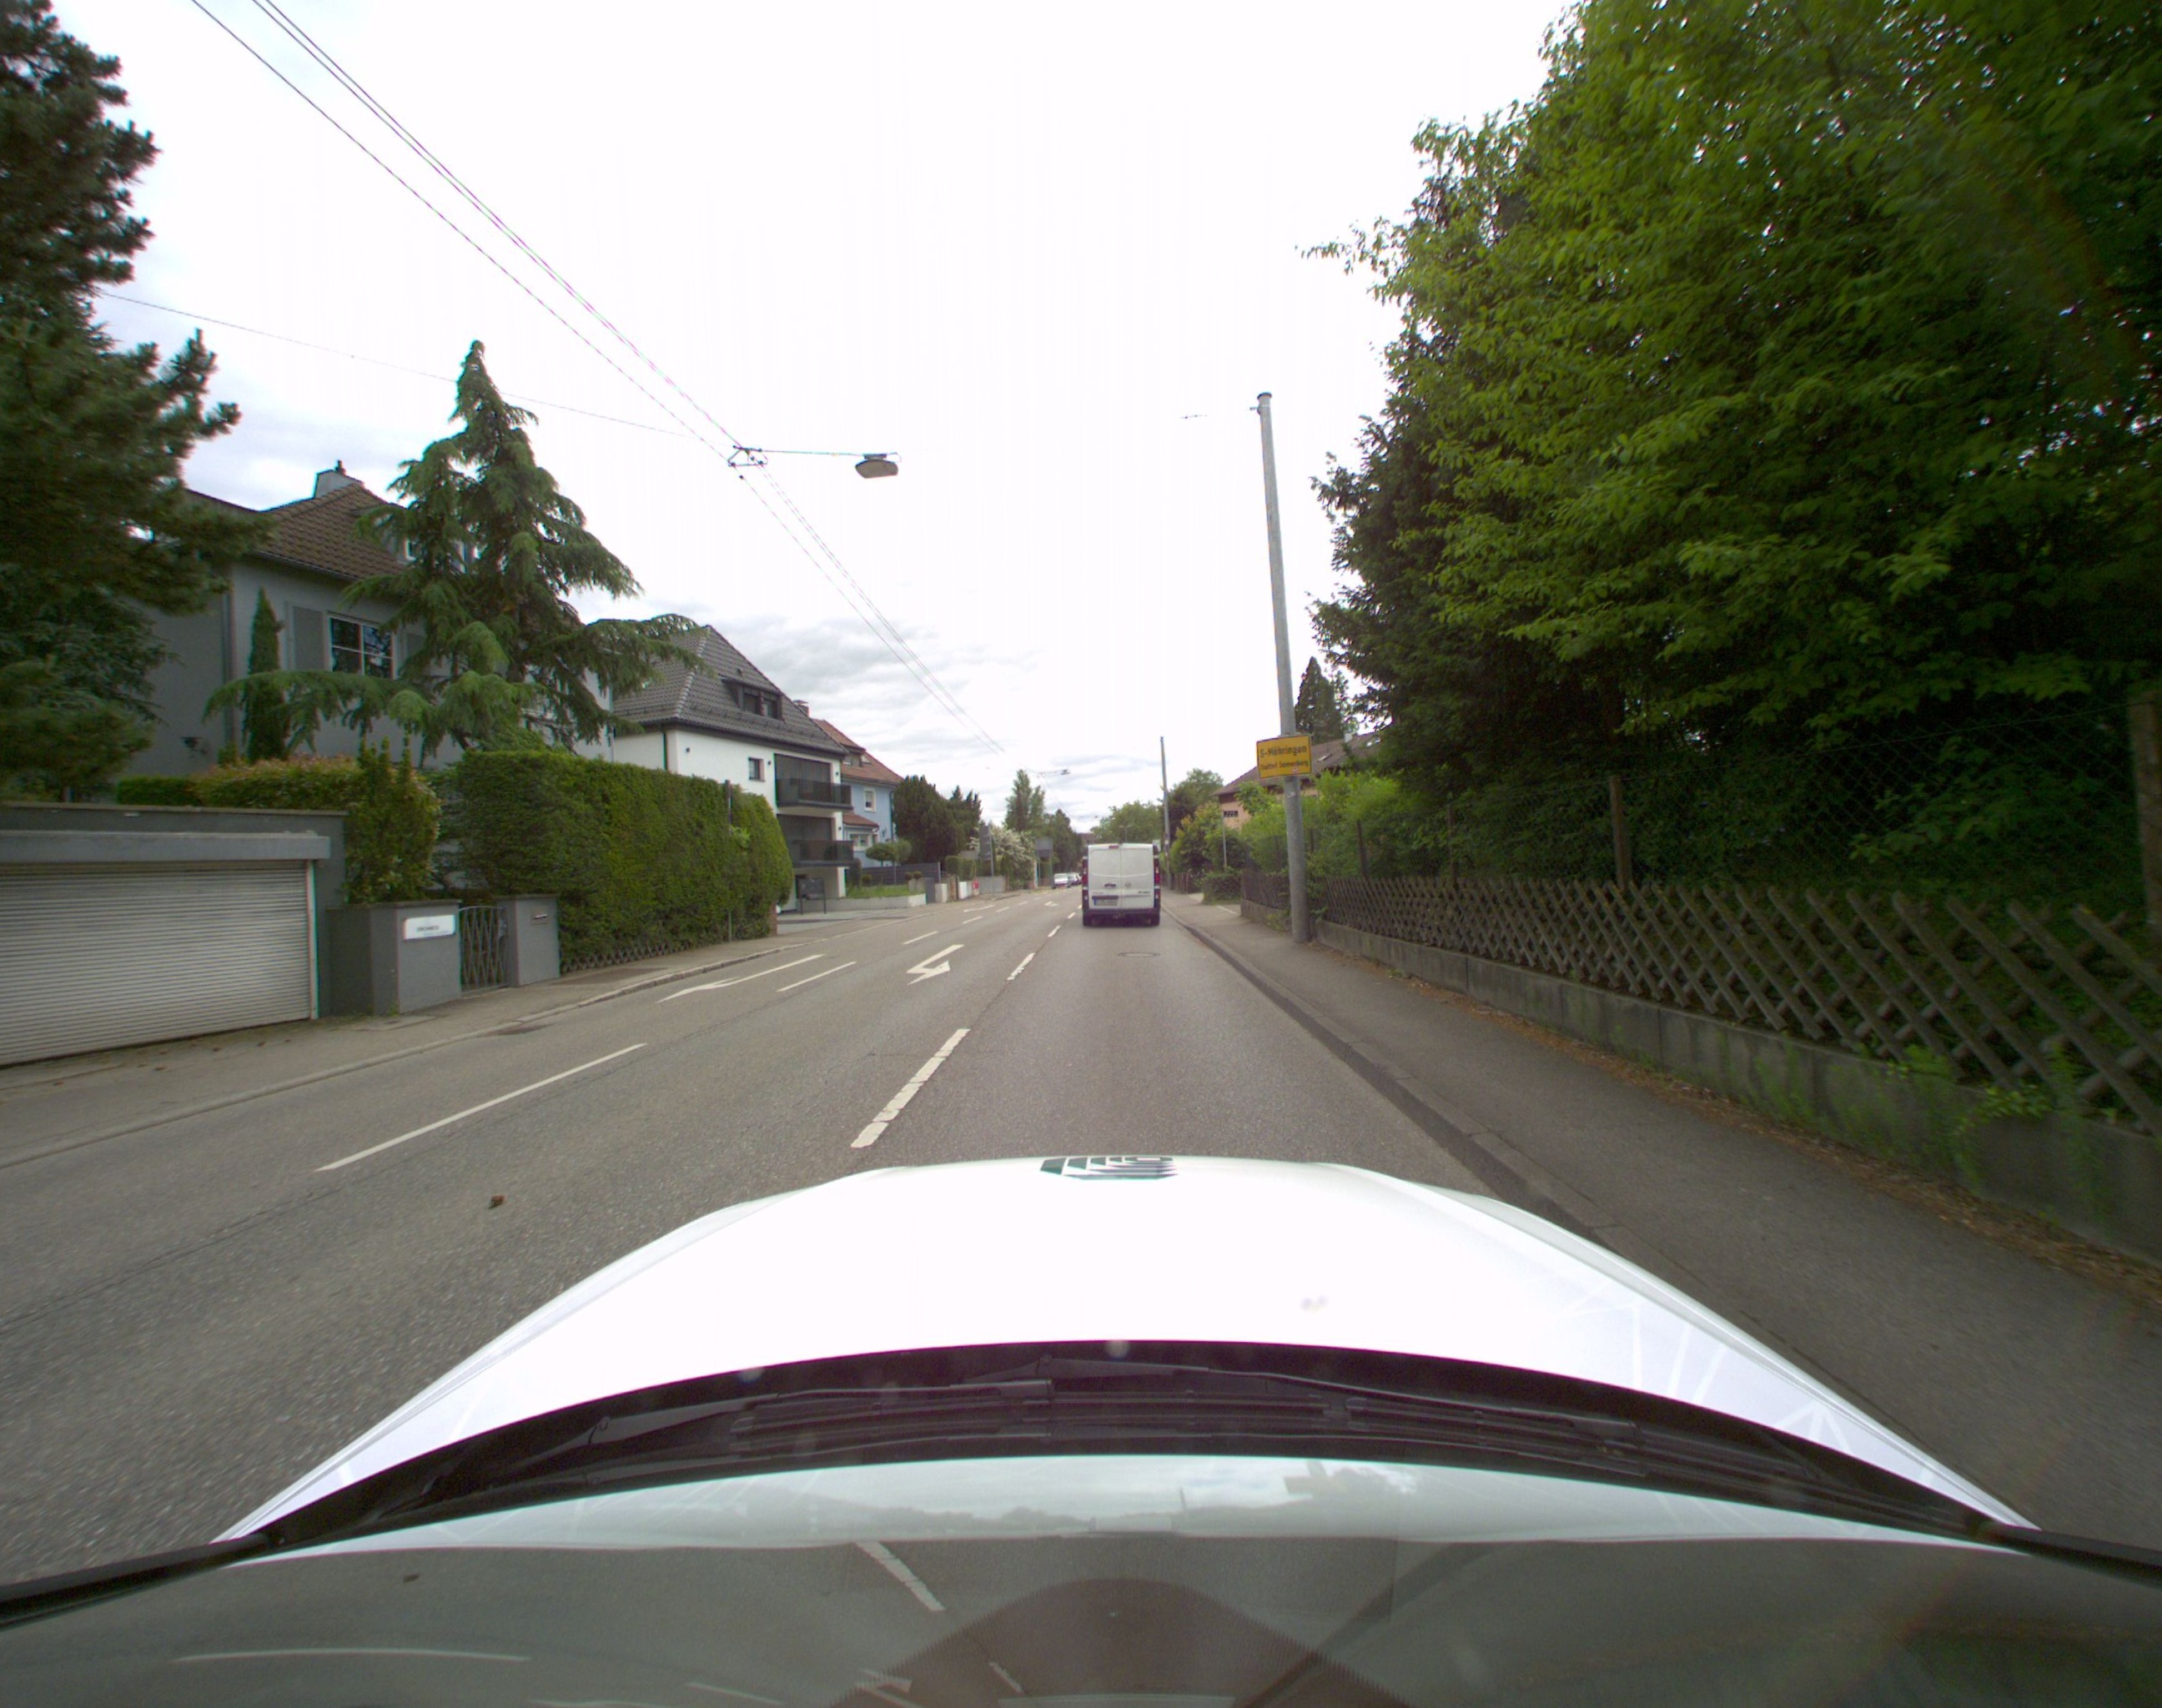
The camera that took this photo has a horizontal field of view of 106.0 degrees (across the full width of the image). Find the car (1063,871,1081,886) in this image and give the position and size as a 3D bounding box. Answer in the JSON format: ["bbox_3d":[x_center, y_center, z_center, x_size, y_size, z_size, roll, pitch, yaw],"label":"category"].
[{"bbox_3d":[-1.024,2.872,95.234,1.672,1.556,3.974,-4,-2,3],"label":"car"}]

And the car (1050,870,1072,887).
[{"bbox_3d":[-1.950,2.430,80.520,1.803,1.455,4.415,-5,-1,2],"label":"car"}]

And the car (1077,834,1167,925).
[{"bbox_3d":[1.029,0.628,20.988,1.998,2.038,5.012,-1,-1,2],"label":"car"}]

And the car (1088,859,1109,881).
[{"bbox_3d":[2.196,1.921,98.610,2.102,2.498,6.130,-3,-1,4],"label":"car"}]
